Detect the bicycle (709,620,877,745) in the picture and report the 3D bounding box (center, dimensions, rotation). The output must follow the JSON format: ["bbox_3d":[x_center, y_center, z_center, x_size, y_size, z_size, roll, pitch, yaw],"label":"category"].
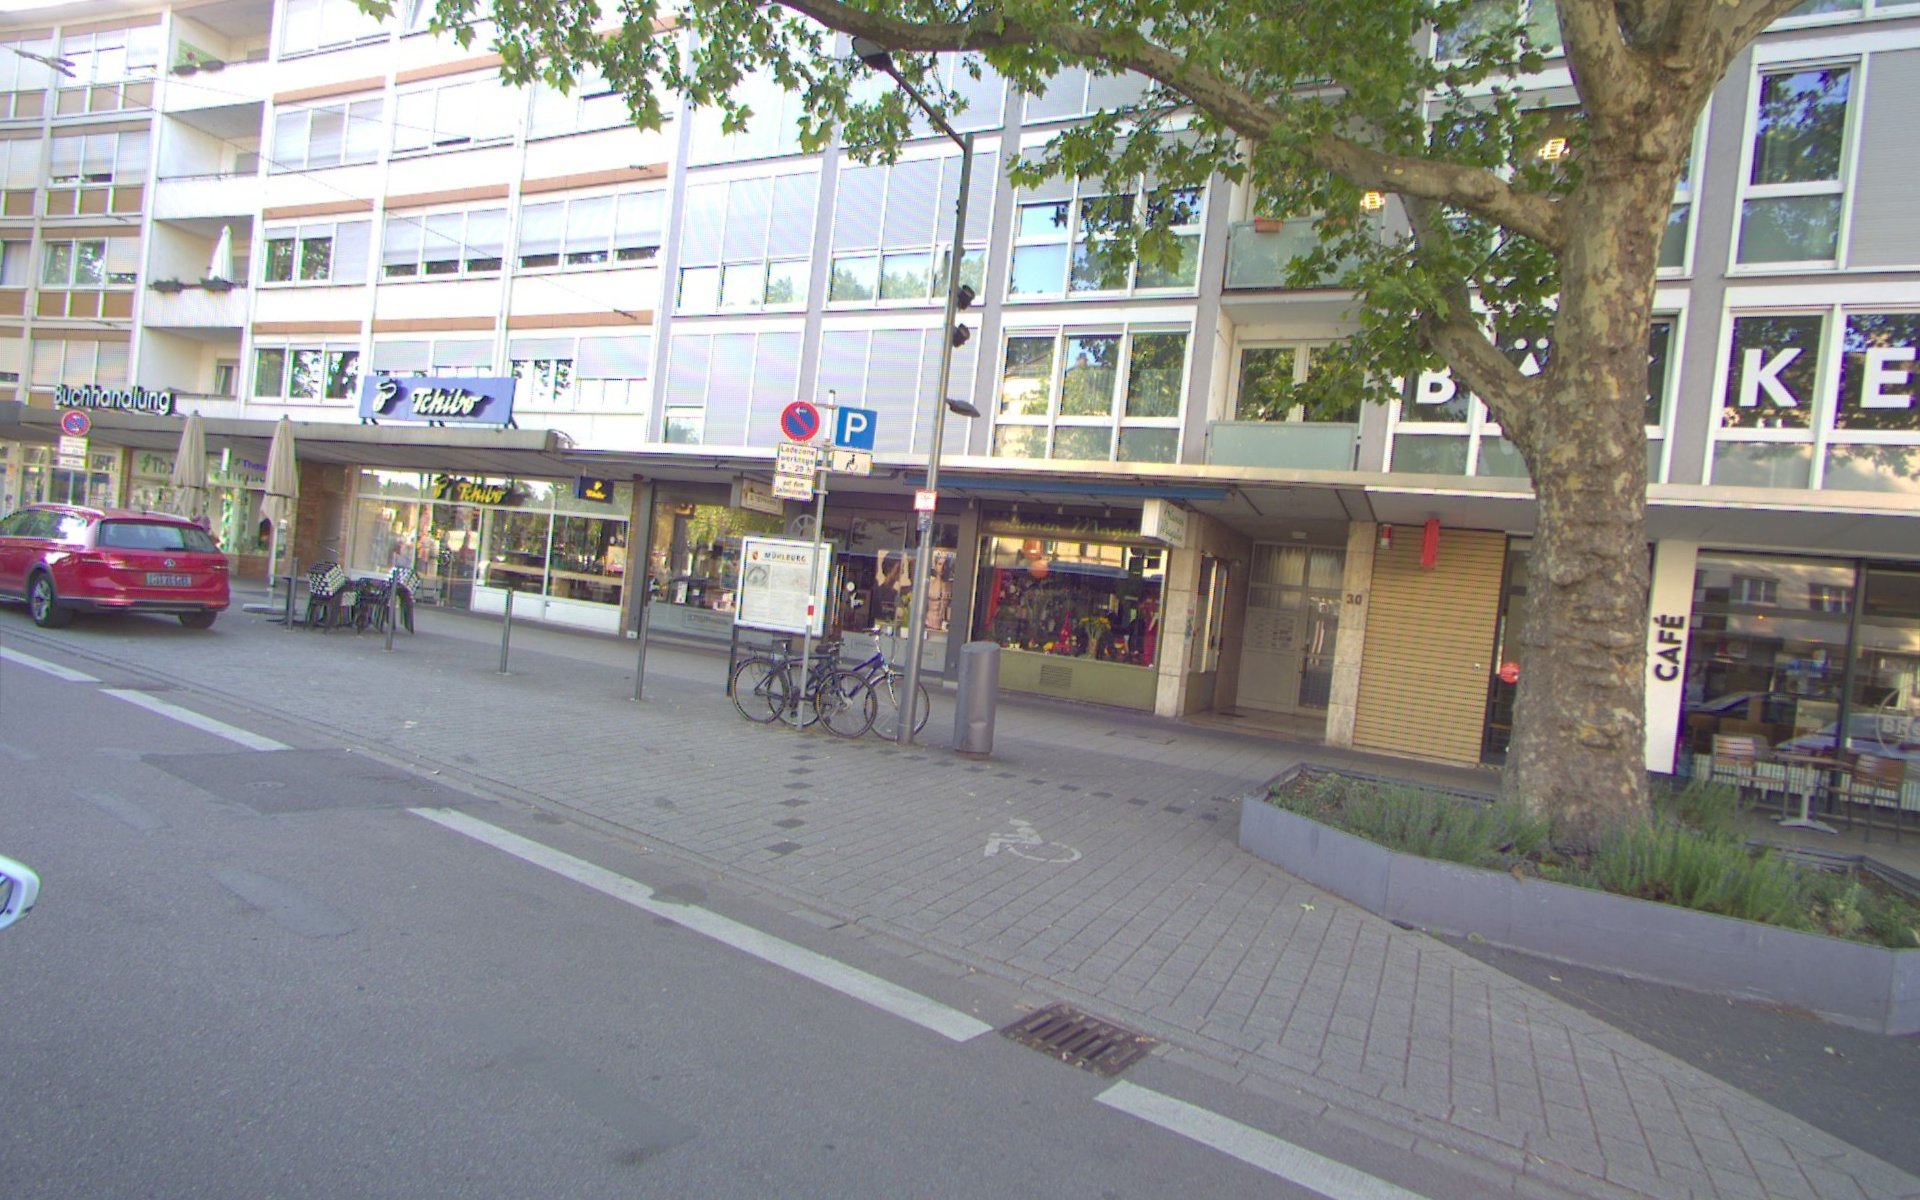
[{"bbox_3d":[-1.742,0.836,10.414,1.686,1.055,0.294,6,4,17],"label":"bicycle"}]

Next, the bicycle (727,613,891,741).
[{"bbox_3d":[-1.610,0.794,10.669,1.686,1.117,0.294,6,4,17],"label":"bicycle"}]

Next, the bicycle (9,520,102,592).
[{"bbox_3d":[-15.775,-0.775,17.537,1.631,1.085,0.512,7,3,22],"label":"bicycle"}]

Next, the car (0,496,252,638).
[{"bbox_3d":[-11.746,-0.505,13.494,4.488,1.516,1.780,6,2,28],"label":"car"}]

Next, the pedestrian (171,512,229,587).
[{"bbox_3d":[-17.210,-1.136,22.777,0.793,1.571,0.641,7,1,24],"label":"pedestrian"}]
